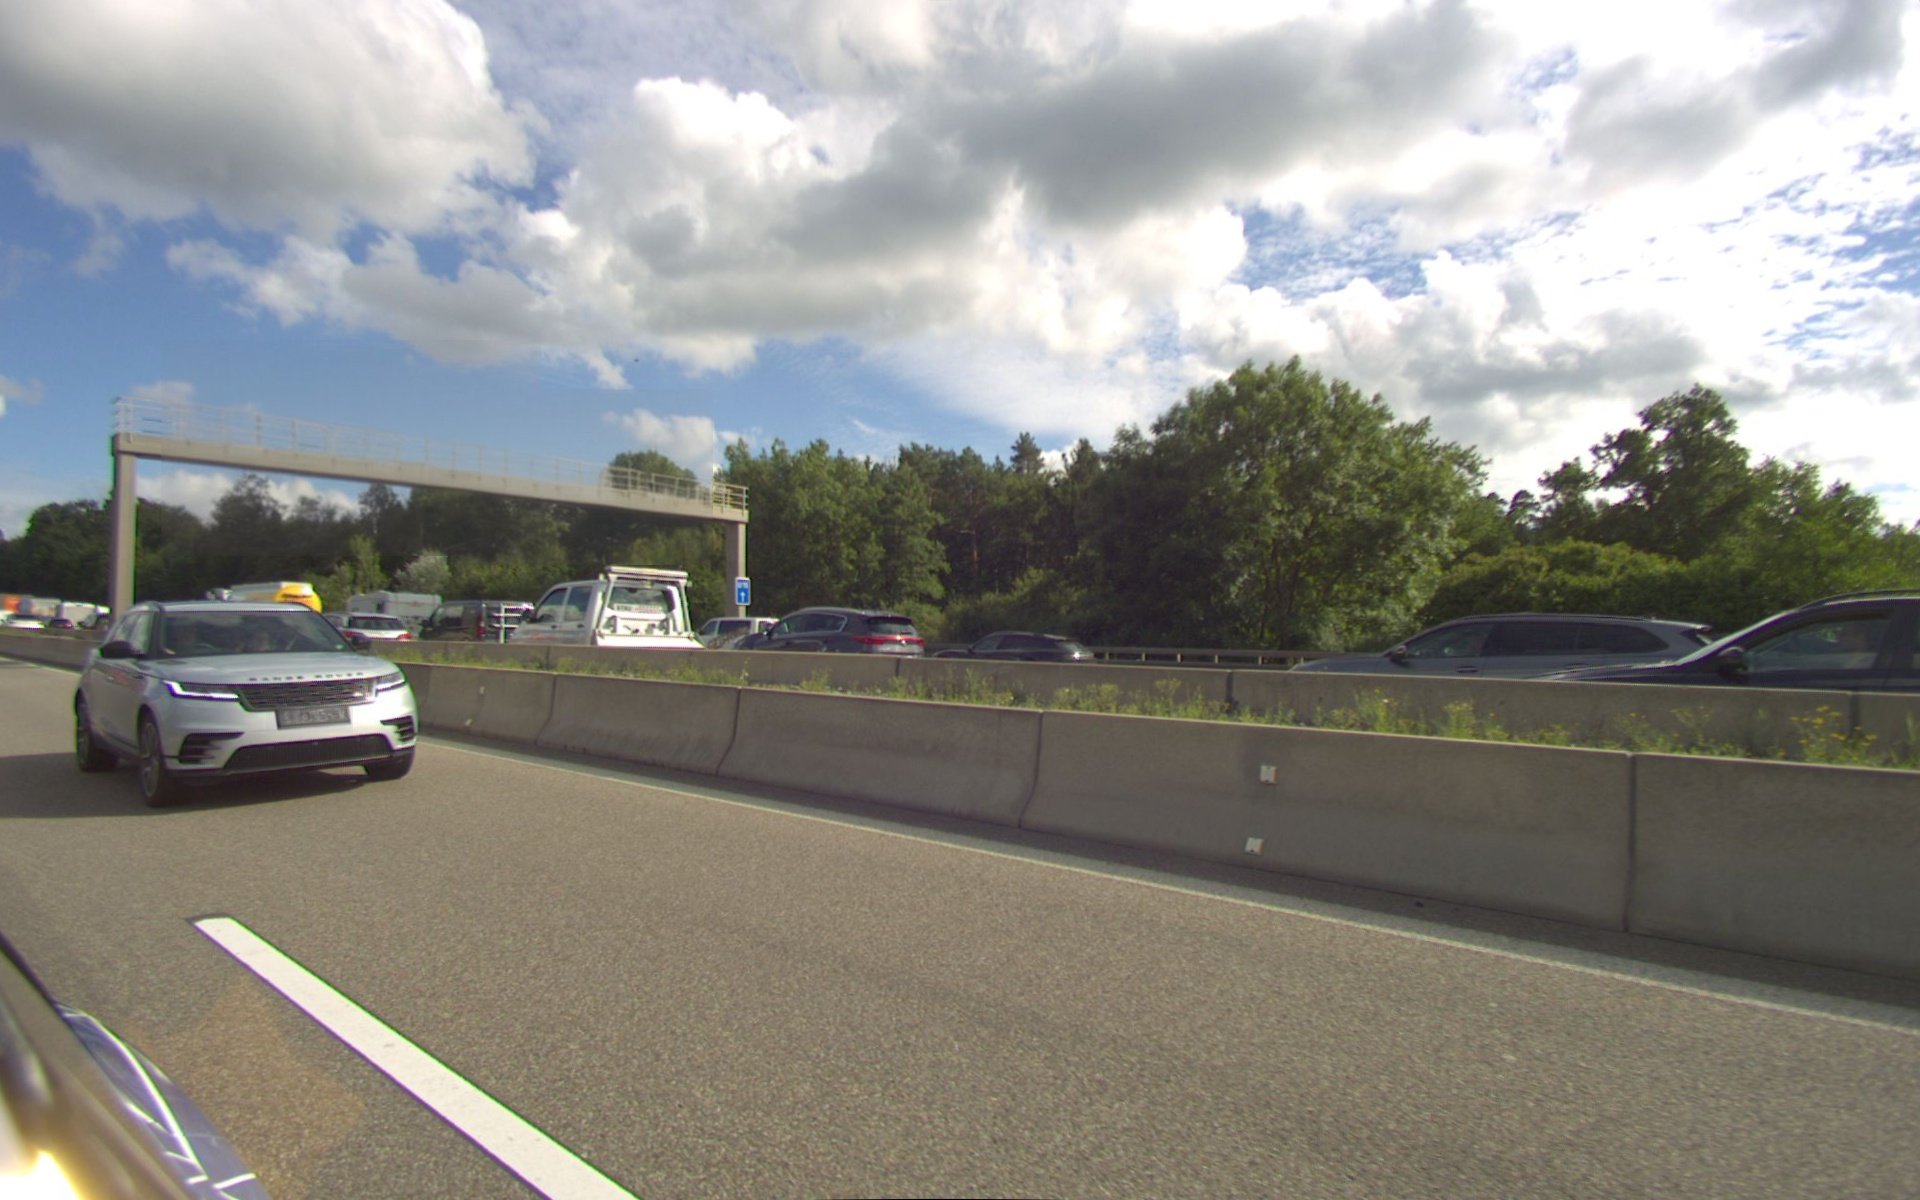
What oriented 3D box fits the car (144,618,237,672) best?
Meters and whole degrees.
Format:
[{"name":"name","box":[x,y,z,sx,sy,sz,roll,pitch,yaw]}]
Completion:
[{"name":"car","box":[-28.045,1.596,36.826,4.936,1.812,1.749,-1,-1,41]}]

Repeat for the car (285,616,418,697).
[{"name":"car","box":[-15.548,1.370,25.805,3.948,1.890,1.781,-1,-1,41]}]

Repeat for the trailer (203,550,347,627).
[{"name":"trailer","box":[-38.379,-0.464,56.381,13.253,3.857,3.376,-1,-1,41]}]

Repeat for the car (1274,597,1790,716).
[{"name":"car","box":[6.214,0.512,11.449,4.882,1.085,1.623,0,0,42]}]

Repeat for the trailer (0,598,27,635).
[{"name":"trailer","box":[-119.115,1.999,126.167,13.170,4.352,2.612,0,2,41]}]

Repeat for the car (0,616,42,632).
[{"name":"car","box":[-60.382,1.513,64.920,4.485,0.947,1.626,-1,0,41]}]

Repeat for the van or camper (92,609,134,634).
[{"name":"van or camper","box":[-71.492,1.823,85.374,4.690,2.026,2.257,-1,0,45]}]

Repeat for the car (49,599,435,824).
[{"name":"car","box":[-7.047,0.845,9.670,5.103,1.619,1.880,-1,-1,41]}]

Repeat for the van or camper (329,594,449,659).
[{"name":"van or camper","box":[-25.233,1.071,44.554,7.394,2.662,2.300,0,0,41]}]

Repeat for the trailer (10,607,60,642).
[{"name":"trailer","box":[-101.510,2.604,110.963,10.215,3.686,2.858,0,-1,41]}]

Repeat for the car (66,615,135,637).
[{"name":"car","box":[-39.983,1.201,47.014,5.460,0.934,1.650,-1,0,41]}]

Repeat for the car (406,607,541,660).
[{"name":"car","box":[-14.941,0.980,30.934,5.373,1.460,1.769,-1,-1,41]}]

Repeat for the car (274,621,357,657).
[{"name":"car","box":[-25.363,1.502,39.769,4.534,1.334,1.547,-1,-1,41]}]

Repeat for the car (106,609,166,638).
[{"name":"car","box":[-50.403,1.423,61.876,4.780,1.668,1.987,-1,0,41]}]

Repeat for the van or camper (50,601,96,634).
[{"name":"van or camper","box":[-86.061,1.641,98.134,7.479,2.911,2.444,1,1,41]}]

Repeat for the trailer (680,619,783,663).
[{"name":"trailer","box":[-9.154,1.586,40.429,4.346,1.591,1.807,0,0,41]}]

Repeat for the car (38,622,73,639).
[{"name":"car","box":[-71.907,2.388,80.429,3.588,1.266,1.646,-1,0,41]}]

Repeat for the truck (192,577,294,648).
[{"name":"truck","box":[-42.565,0.744,60.023,6.798,3.930,3.381,-1,-1,41]}]

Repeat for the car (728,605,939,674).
[{"name":"car","box":[-2.456,0.702,18.963,4.161,1.148,1.548,-1,-1,41]}]

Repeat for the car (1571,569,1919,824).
[{"name":"car","box":[6.292,0.539,6.302,3.999,1.382,1.678,-2,3,42]}]

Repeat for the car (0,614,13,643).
[{"name":"car","box":[-72.002,2.086,75.159,5.497,2.078,1.813,-1,-2,41]}]

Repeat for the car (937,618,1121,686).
[{"name":"car","box":[1.676,1.247,25.511,4.408,1.510,1.871,0,-1,42]}]

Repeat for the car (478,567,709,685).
[{"name":"car","box":[-6.532,0.434,17.847,4.177,1.815,2.065,-1,-1,41]}]

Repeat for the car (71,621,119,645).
[{"name":"car","box":[-58.939,2.249,68.934,4.240,1.549,1.813,-1,0,41]}]
